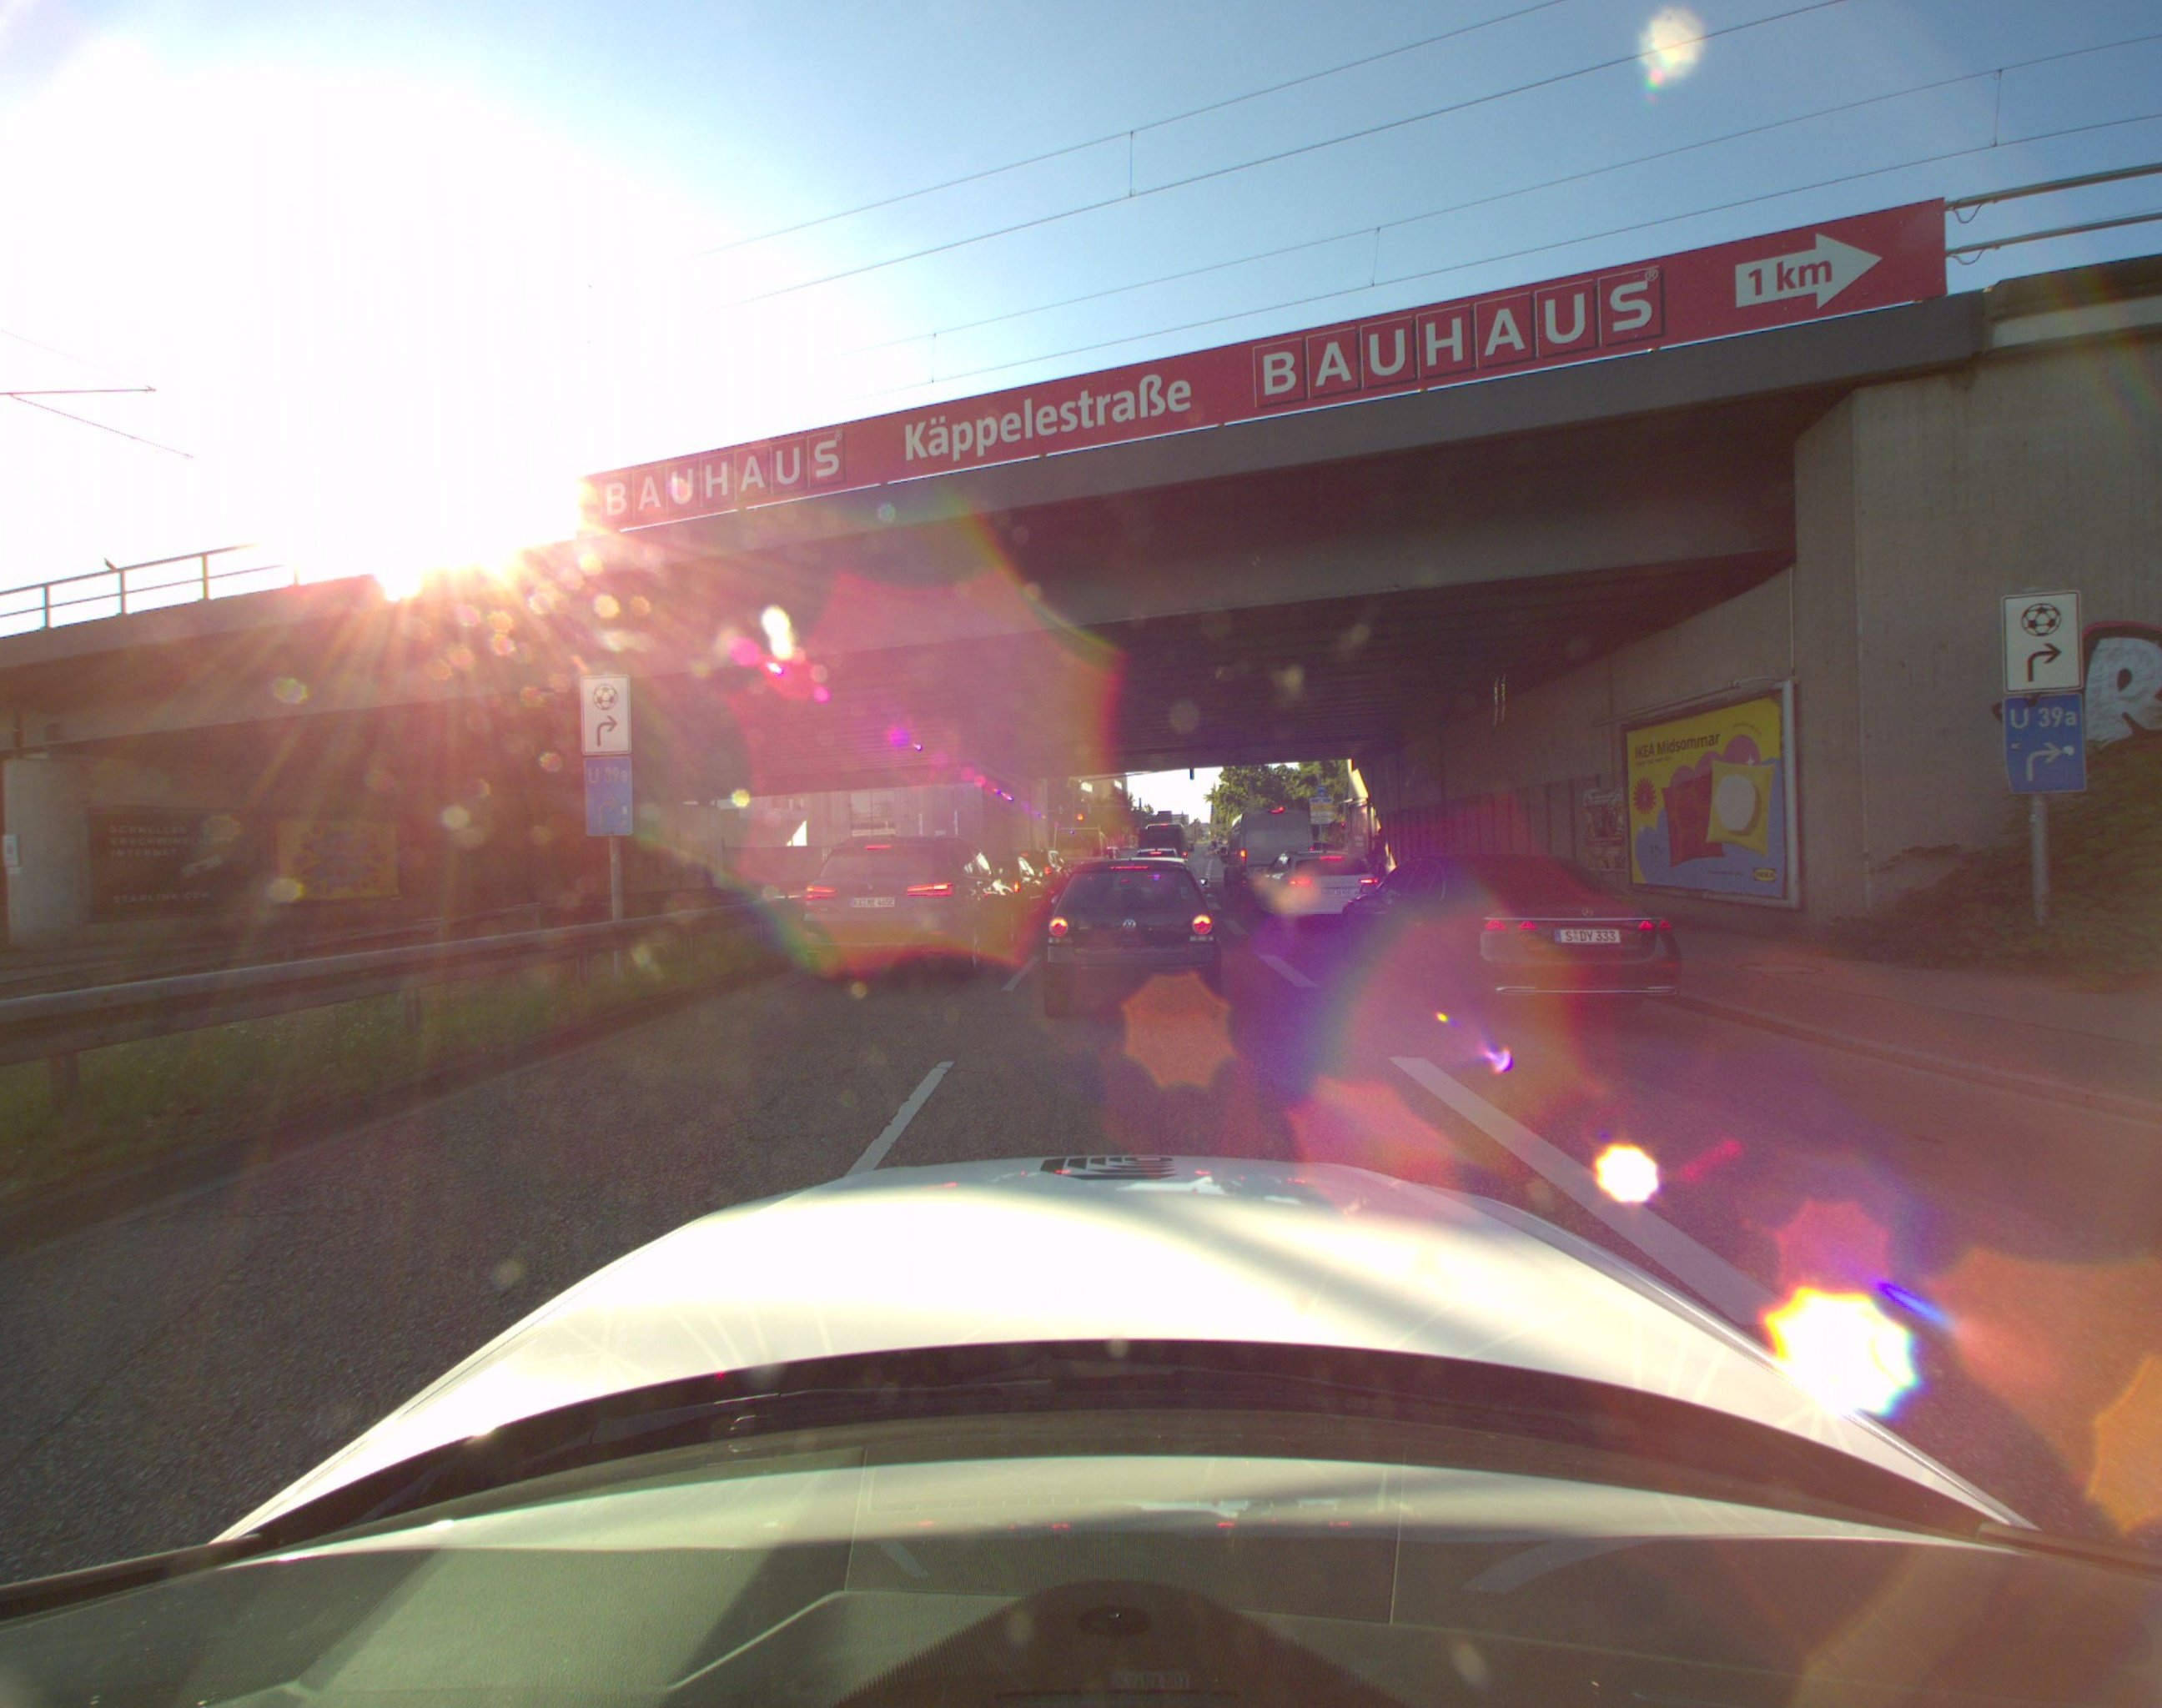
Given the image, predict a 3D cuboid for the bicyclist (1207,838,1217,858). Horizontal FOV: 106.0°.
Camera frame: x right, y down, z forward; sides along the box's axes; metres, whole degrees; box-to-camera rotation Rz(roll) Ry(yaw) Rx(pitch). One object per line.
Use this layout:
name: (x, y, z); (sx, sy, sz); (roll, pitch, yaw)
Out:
bicyclist: (13.303, -0.619, 82.575); (0.823, 2.013, 0.684); (-5, -1, 8)

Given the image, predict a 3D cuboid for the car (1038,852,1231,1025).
car: (0.514, 0.730, 8.666); (1.575, 1.408, 3.833); (-1, -1, 2)

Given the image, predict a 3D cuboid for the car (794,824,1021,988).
car: (-2.071, 0.599, 11.136); (1.821, 1.738, 4.466); (-2, -1, 4)

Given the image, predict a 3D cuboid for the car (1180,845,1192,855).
car: (14.334, -0.542, 111.559); (1.334, 1.281, 2.895); (-5, -1, 2)

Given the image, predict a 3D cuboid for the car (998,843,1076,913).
car: (-1.187, 0.661, 23.606); (1.835, 1.719, 4.000); (-5, -1, 1)

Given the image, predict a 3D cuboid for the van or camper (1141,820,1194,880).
van or camper: (4.196, -0.135, 38.490); (1.981, 2.570, 5.934); (-2, -1, 10)

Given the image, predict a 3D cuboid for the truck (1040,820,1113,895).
truck: (-0.063, 0.146, 31.169); (2.017, 2.557, 5.548); (-2, -1, 7)

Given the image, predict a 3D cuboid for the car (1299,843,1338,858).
car: (18.610, -0.268, 63.880); (2.805, 1.081, 1.221); (-2, -1, 9)

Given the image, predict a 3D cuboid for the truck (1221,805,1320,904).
truck: (5.430, 0.031, 23.949); (2.101, 2.519, 4.407); (-3, -1, 5)

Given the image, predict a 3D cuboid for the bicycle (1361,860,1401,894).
bicycle: (9.205, 0.677, 25.079); (0.575, 0.963, 2.893); (-2, -1, 9)

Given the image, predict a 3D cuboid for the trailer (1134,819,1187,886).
trailer: (3.279, -0.028, 33.031); (1.854, 2.465, 3.840); (-3, -1, 8)

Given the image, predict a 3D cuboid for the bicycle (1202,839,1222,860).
bicycle: (13.253, -0.450, 82.588); (1.867, 2.013, 0.572); (-5, -1, 8)

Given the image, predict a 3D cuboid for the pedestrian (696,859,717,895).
pedestrian: (-20.045, 1.240, 43.583); (0.690, 1.903, 0.666); (-2, -1, 8)

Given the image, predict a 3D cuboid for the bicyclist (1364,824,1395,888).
bicyclist: (9.190, 0.064, 25.088); (0.678, 1.907, 0.835); (-2, -1, 9)

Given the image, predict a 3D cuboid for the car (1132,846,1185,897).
car: (2.577, 0.571, 26.862); (1.573, 1.532, 3.838); (-1, -1, 6)

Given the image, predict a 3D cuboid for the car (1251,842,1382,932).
car: (4.491, 0.597, 16.063); (1.764, 1.495, 3.838); (-3, -1, 6)

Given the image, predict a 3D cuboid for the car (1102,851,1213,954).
car: (1.294, 0.718, 13.902); (1.540, 1.423, 3.422); (-5, 0, 5)

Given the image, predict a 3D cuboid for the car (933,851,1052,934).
car: (-1.768, 0.759, 17.448); (1.834, 1.440, 3.678); (-5, -1, 3)

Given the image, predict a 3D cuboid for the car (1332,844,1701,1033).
car: (4.157, 0.647, 8.756); (1.733, 1.454, 4.610); (-1, 1, 4)

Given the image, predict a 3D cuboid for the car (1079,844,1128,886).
car: (1.180, 0.546, 40.584); (1.982, 1.901, 4.009); (-2, -1, 8)
